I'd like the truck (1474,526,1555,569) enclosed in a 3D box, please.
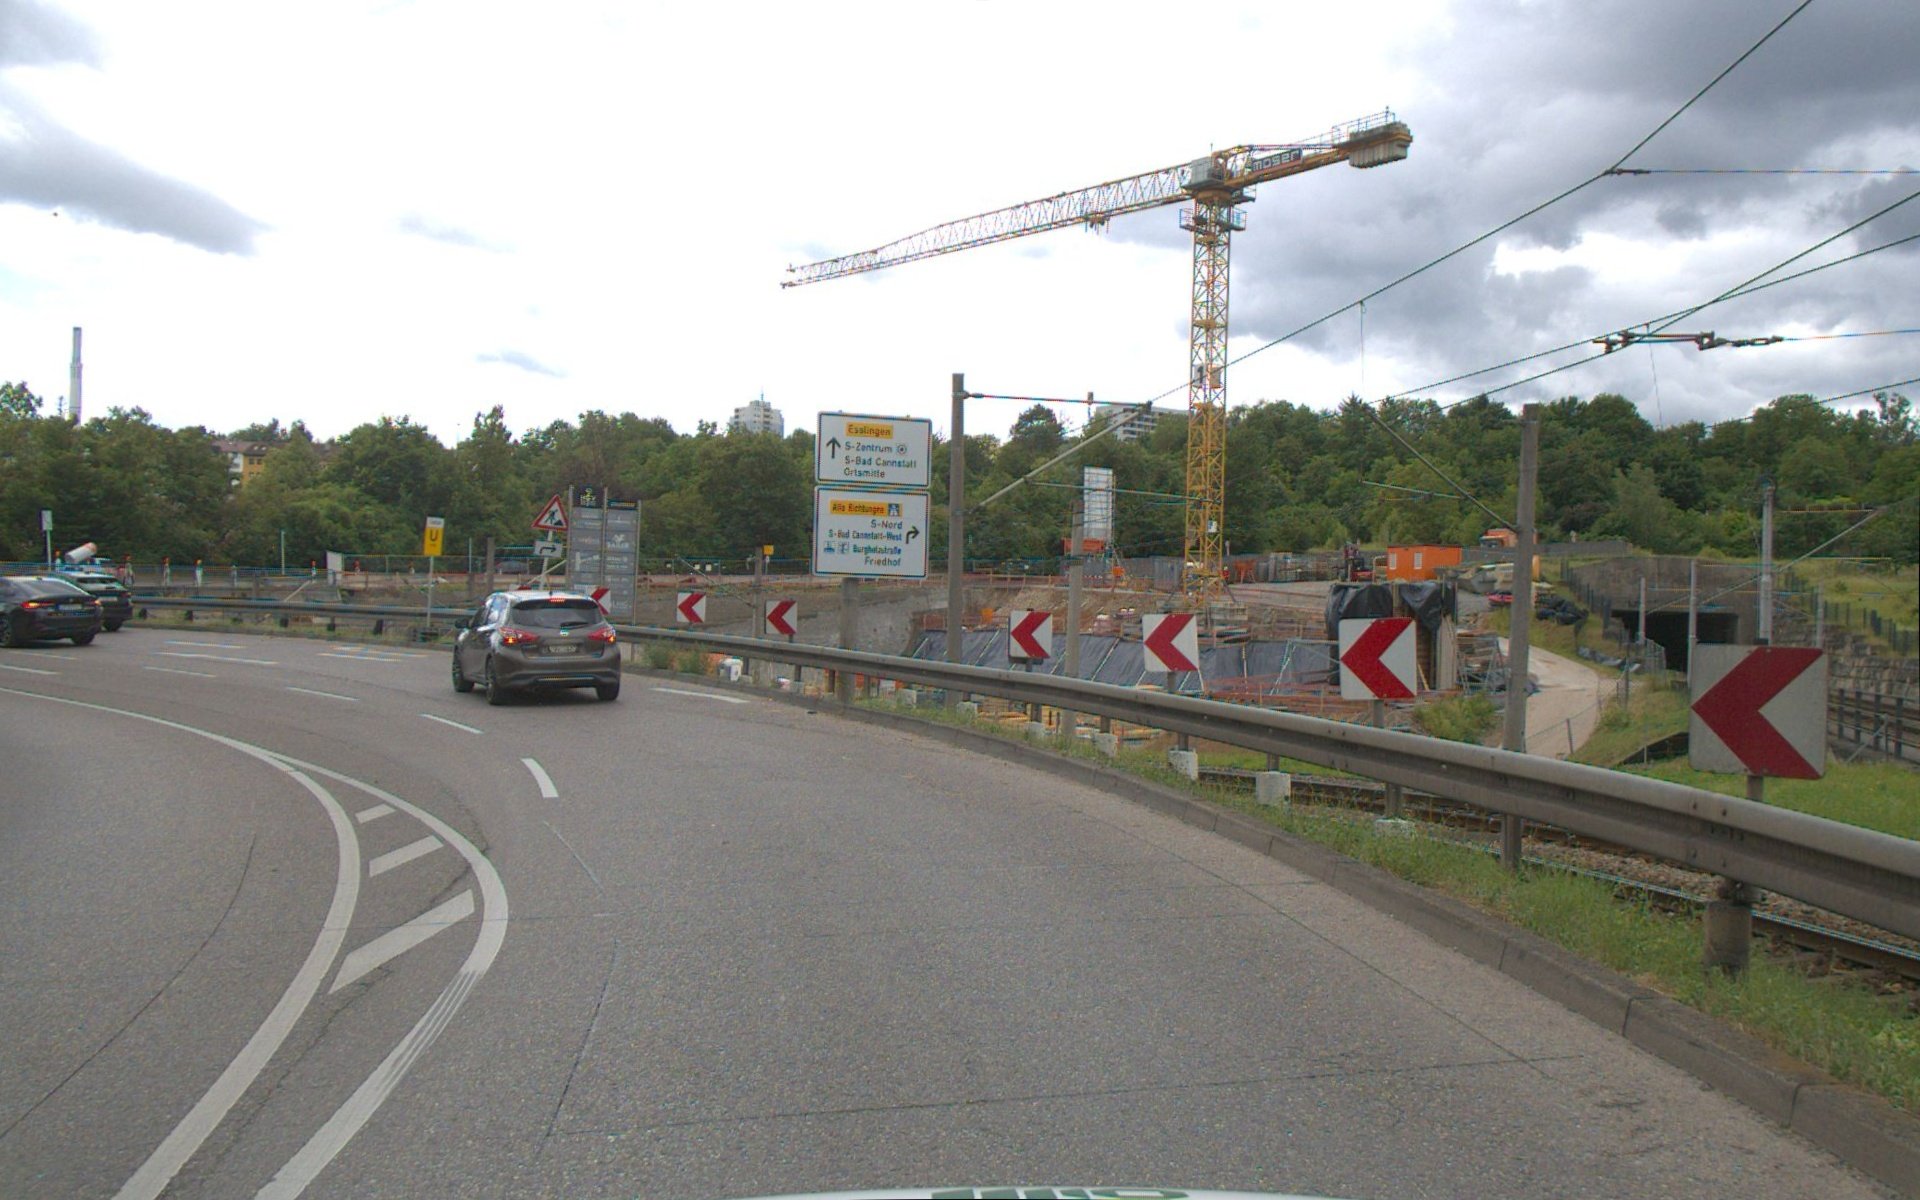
[{"bbox_3d":[58.260,-5.494,173.700,9.686,4.294,3.080,0,1,-37],"label":"truck"}]

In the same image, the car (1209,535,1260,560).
[{"bbox_3d":[23.248,-4.434,140.152,3.946,2.049,1.979,0,-1,-31],"label":"car"}]

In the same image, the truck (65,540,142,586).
[{"bbox_3d":[-43.304,-1.849,83.695,1.954,2.049,3.996,3,-1,-4],"label":"truck"}]

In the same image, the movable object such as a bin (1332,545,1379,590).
[{"bbox_3d":[28.085,-2.289,117.502,1.818,3.131,2.768,1,-1,-33],"label":"movable object such as a bin"}]

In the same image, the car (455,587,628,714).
[{"bbox_3d":[-6.118,0.649,23.904,1.774,1.579,3.970,0,2,-24],"label":"car"}]

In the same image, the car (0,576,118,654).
[{"bbox_3d":[-20.807,0.285,36.370,4.859,1.502,1.874,2,3,32],"label":"car"}]

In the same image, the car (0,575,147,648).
[{"bbox_3d":[-22.697,0.244,41.773,4.112,1.665,1.876,1,3,29],"label":"car"}]
